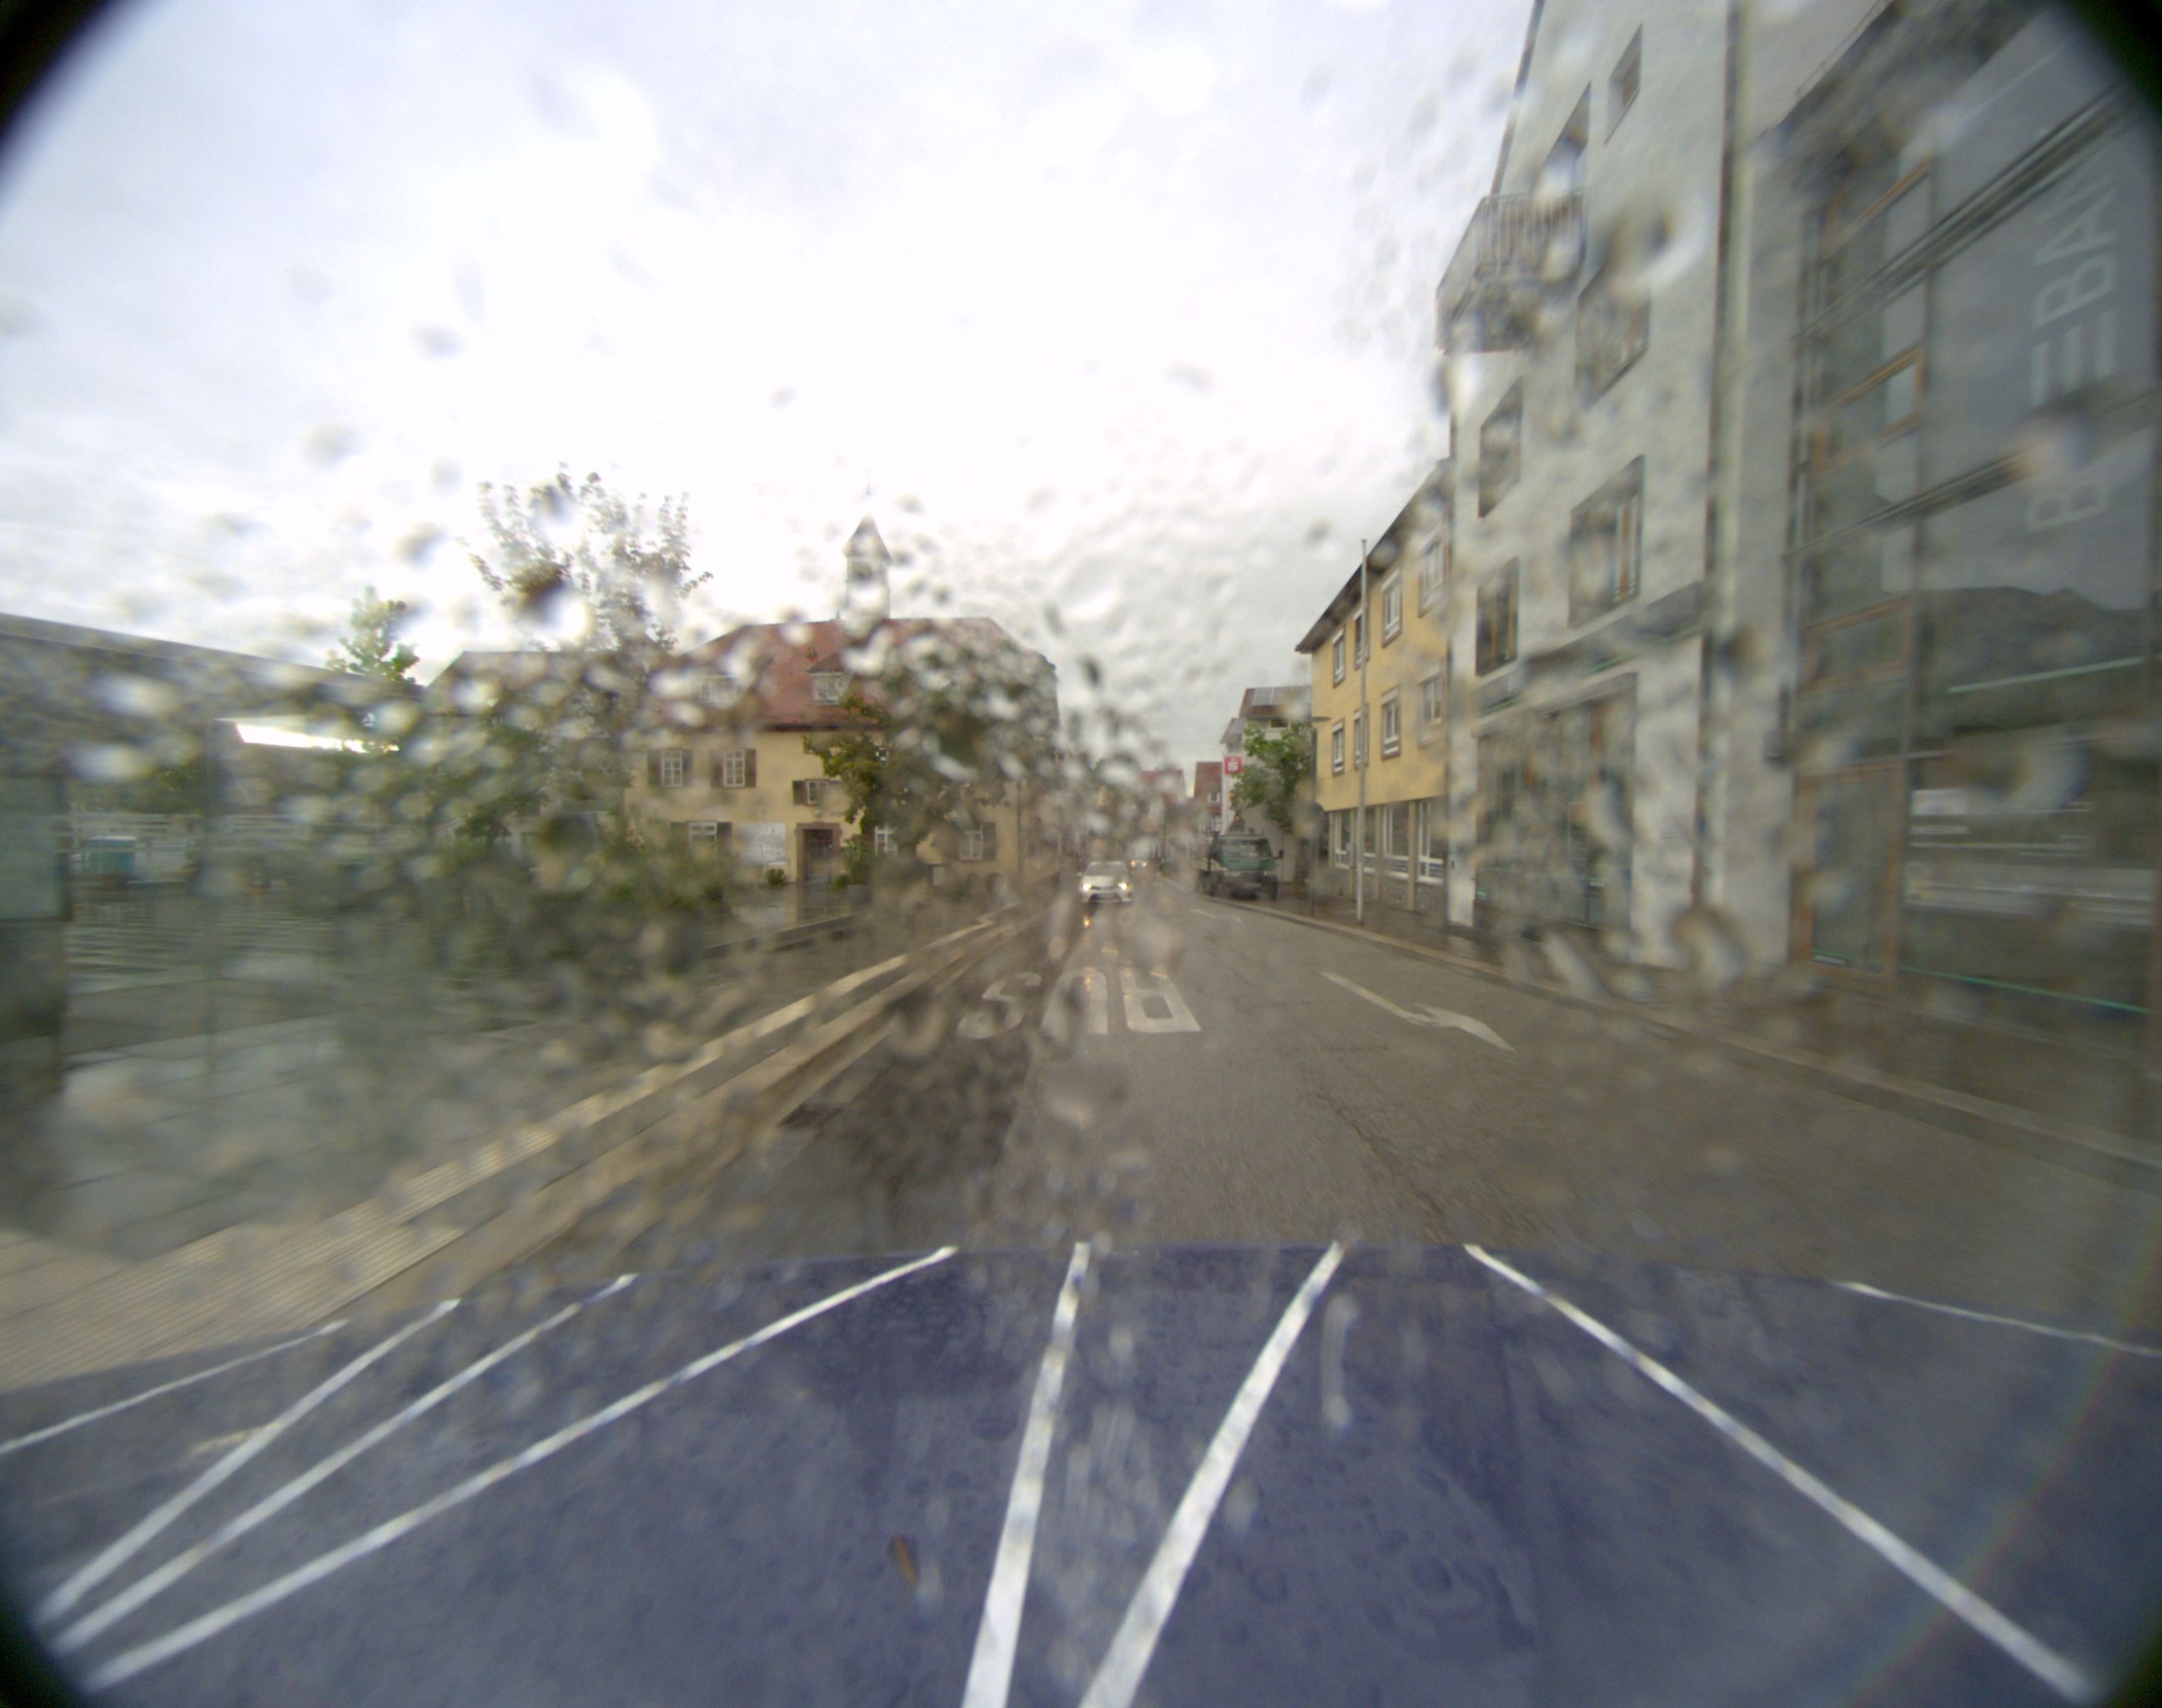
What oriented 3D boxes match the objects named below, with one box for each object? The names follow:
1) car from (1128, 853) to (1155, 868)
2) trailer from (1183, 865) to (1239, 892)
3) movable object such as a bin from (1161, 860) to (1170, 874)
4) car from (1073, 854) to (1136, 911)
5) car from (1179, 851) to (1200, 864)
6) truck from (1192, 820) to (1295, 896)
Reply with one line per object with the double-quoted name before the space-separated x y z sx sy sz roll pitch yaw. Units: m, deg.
"car" 6.348 0.655 79.623 1.865 1.452 4.005 2 1 19
"trailer" 5.712 1.085 33.728 1.857 1.118 3.020 0 -1 -2
"movable object such as a bin" 6.788 1.023 60.895 0.697 1.071 0.645 -2 1 5
"car" 0.837 0.847 25.069 1.867 1.577 4.614 1 1 3
"car" 13.052 0.409 91.086 1.804 1.434 4.005 0 1 18
"truck" 6.003 0.230 29.011 2.406 2.579 6.483 0 -1 -1
